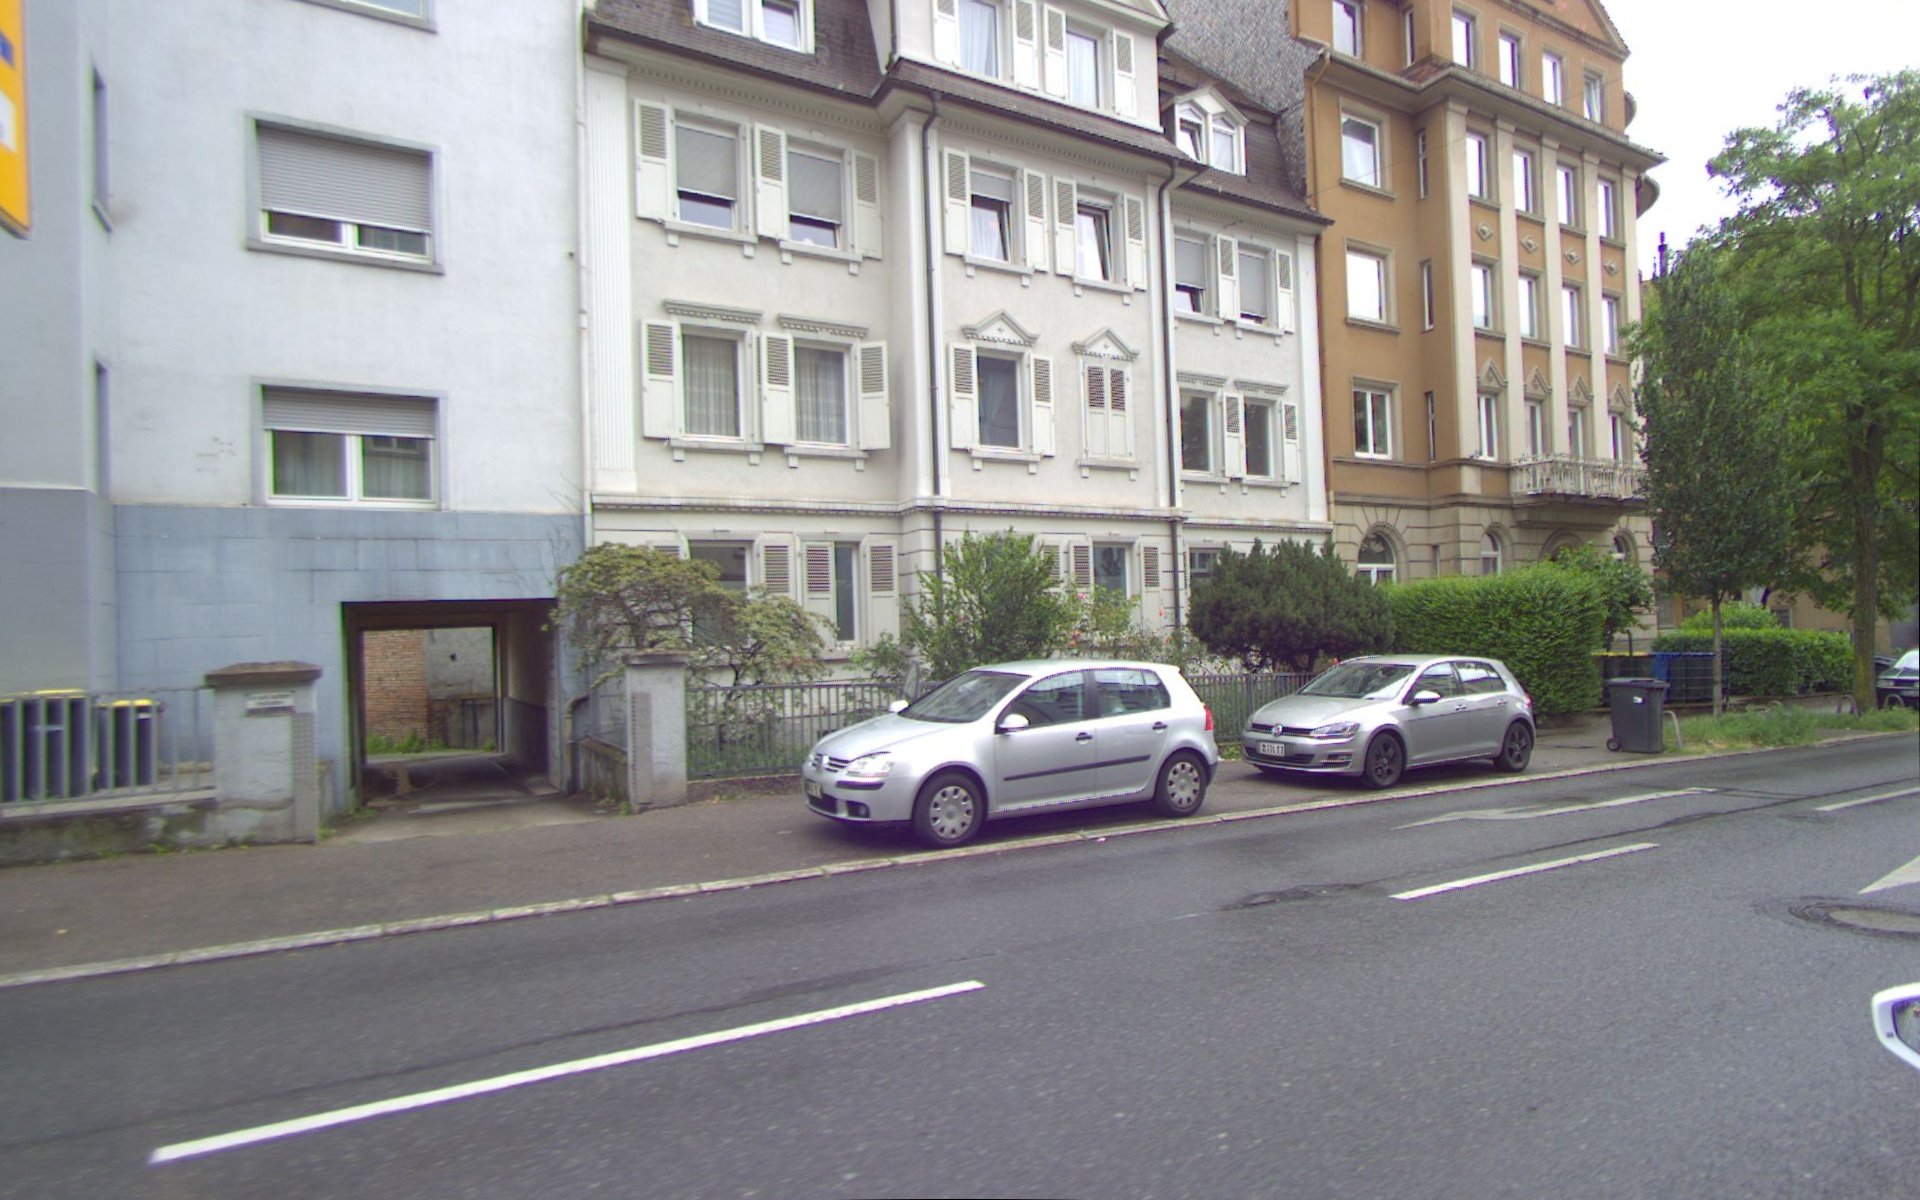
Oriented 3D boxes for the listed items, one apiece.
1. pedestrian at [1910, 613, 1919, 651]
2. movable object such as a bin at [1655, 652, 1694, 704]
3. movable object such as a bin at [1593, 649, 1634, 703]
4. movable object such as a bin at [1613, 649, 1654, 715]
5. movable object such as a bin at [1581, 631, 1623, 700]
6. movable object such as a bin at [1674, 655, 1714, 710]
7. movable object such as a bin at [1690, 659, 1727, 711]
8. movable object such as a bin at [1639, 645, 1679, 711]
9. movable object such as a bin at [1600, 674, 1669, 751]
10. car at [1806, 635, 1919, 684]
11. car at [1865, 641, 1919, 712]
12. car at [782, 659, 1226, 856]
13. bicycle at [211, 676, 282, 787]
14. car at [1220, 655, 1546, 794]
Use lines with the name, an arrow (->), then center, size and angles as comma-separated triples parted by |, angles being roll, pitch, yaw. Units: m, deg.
pedestrian -> 46.960, 1.570, 49.130 | 0.626, 1.840, 0.634 | -3, -2, 43
movable object such as a bin -> 15.061, 1.631, 21.163 | 0.643, 1.054, 0.424 | 1, -3, -31
movable object such as a bin -> 13.021, 1.511, 20.011 | 0.642, 1.053, 0.437 | 1, -3, -31
movable object such as a bin -> 13.677, 1.653, 20.400 | 0.642, 1.326, 0.437 | 1, -3, -31
movable object such as a bin -> 12.651, 1.282, 19.791 | 0.642, 1.316, 0.437 | 1, -3, -31
movable object such as a bin -> 15.744, 1.768, 21.547 | 0.650, 1.145, 0.437 | 1, -2, -31
movable object such as a bin -> 16.316, 1.835, 21.887 | 0.583, 1.095, 0.437 | 1, -3, -31
movable object such as a bin -> 14.459, 1.604, 20.766 | 0.602, 1.326, 0.437 | 1, -3, -31
movable object such as a bin -> 9.862, 1.626, 14.697 | 0.593, 1.072, 0.627 | 2, -3, -30
car -> 28.752, 1.815, 30.872 | 1.720, 1.408, 3.802 | -1, -2, -27
car -> 21.734, 1.641, 22.140 | 3.899, 1.473, 1.645 | 1, -3, -32
car -> 0.465, 1.296, 9.361 | 3.863, 1.408, 1.675 | 1, -2, -30
bicycle -> -7.947, 1.428, 11.224 | 0.478, 1.104, 1.415 | 1, -2, -29
car -> 5.207, 1.401, 12.281 | 3.889, 1.408, 1.675 | 1, -2, -30
